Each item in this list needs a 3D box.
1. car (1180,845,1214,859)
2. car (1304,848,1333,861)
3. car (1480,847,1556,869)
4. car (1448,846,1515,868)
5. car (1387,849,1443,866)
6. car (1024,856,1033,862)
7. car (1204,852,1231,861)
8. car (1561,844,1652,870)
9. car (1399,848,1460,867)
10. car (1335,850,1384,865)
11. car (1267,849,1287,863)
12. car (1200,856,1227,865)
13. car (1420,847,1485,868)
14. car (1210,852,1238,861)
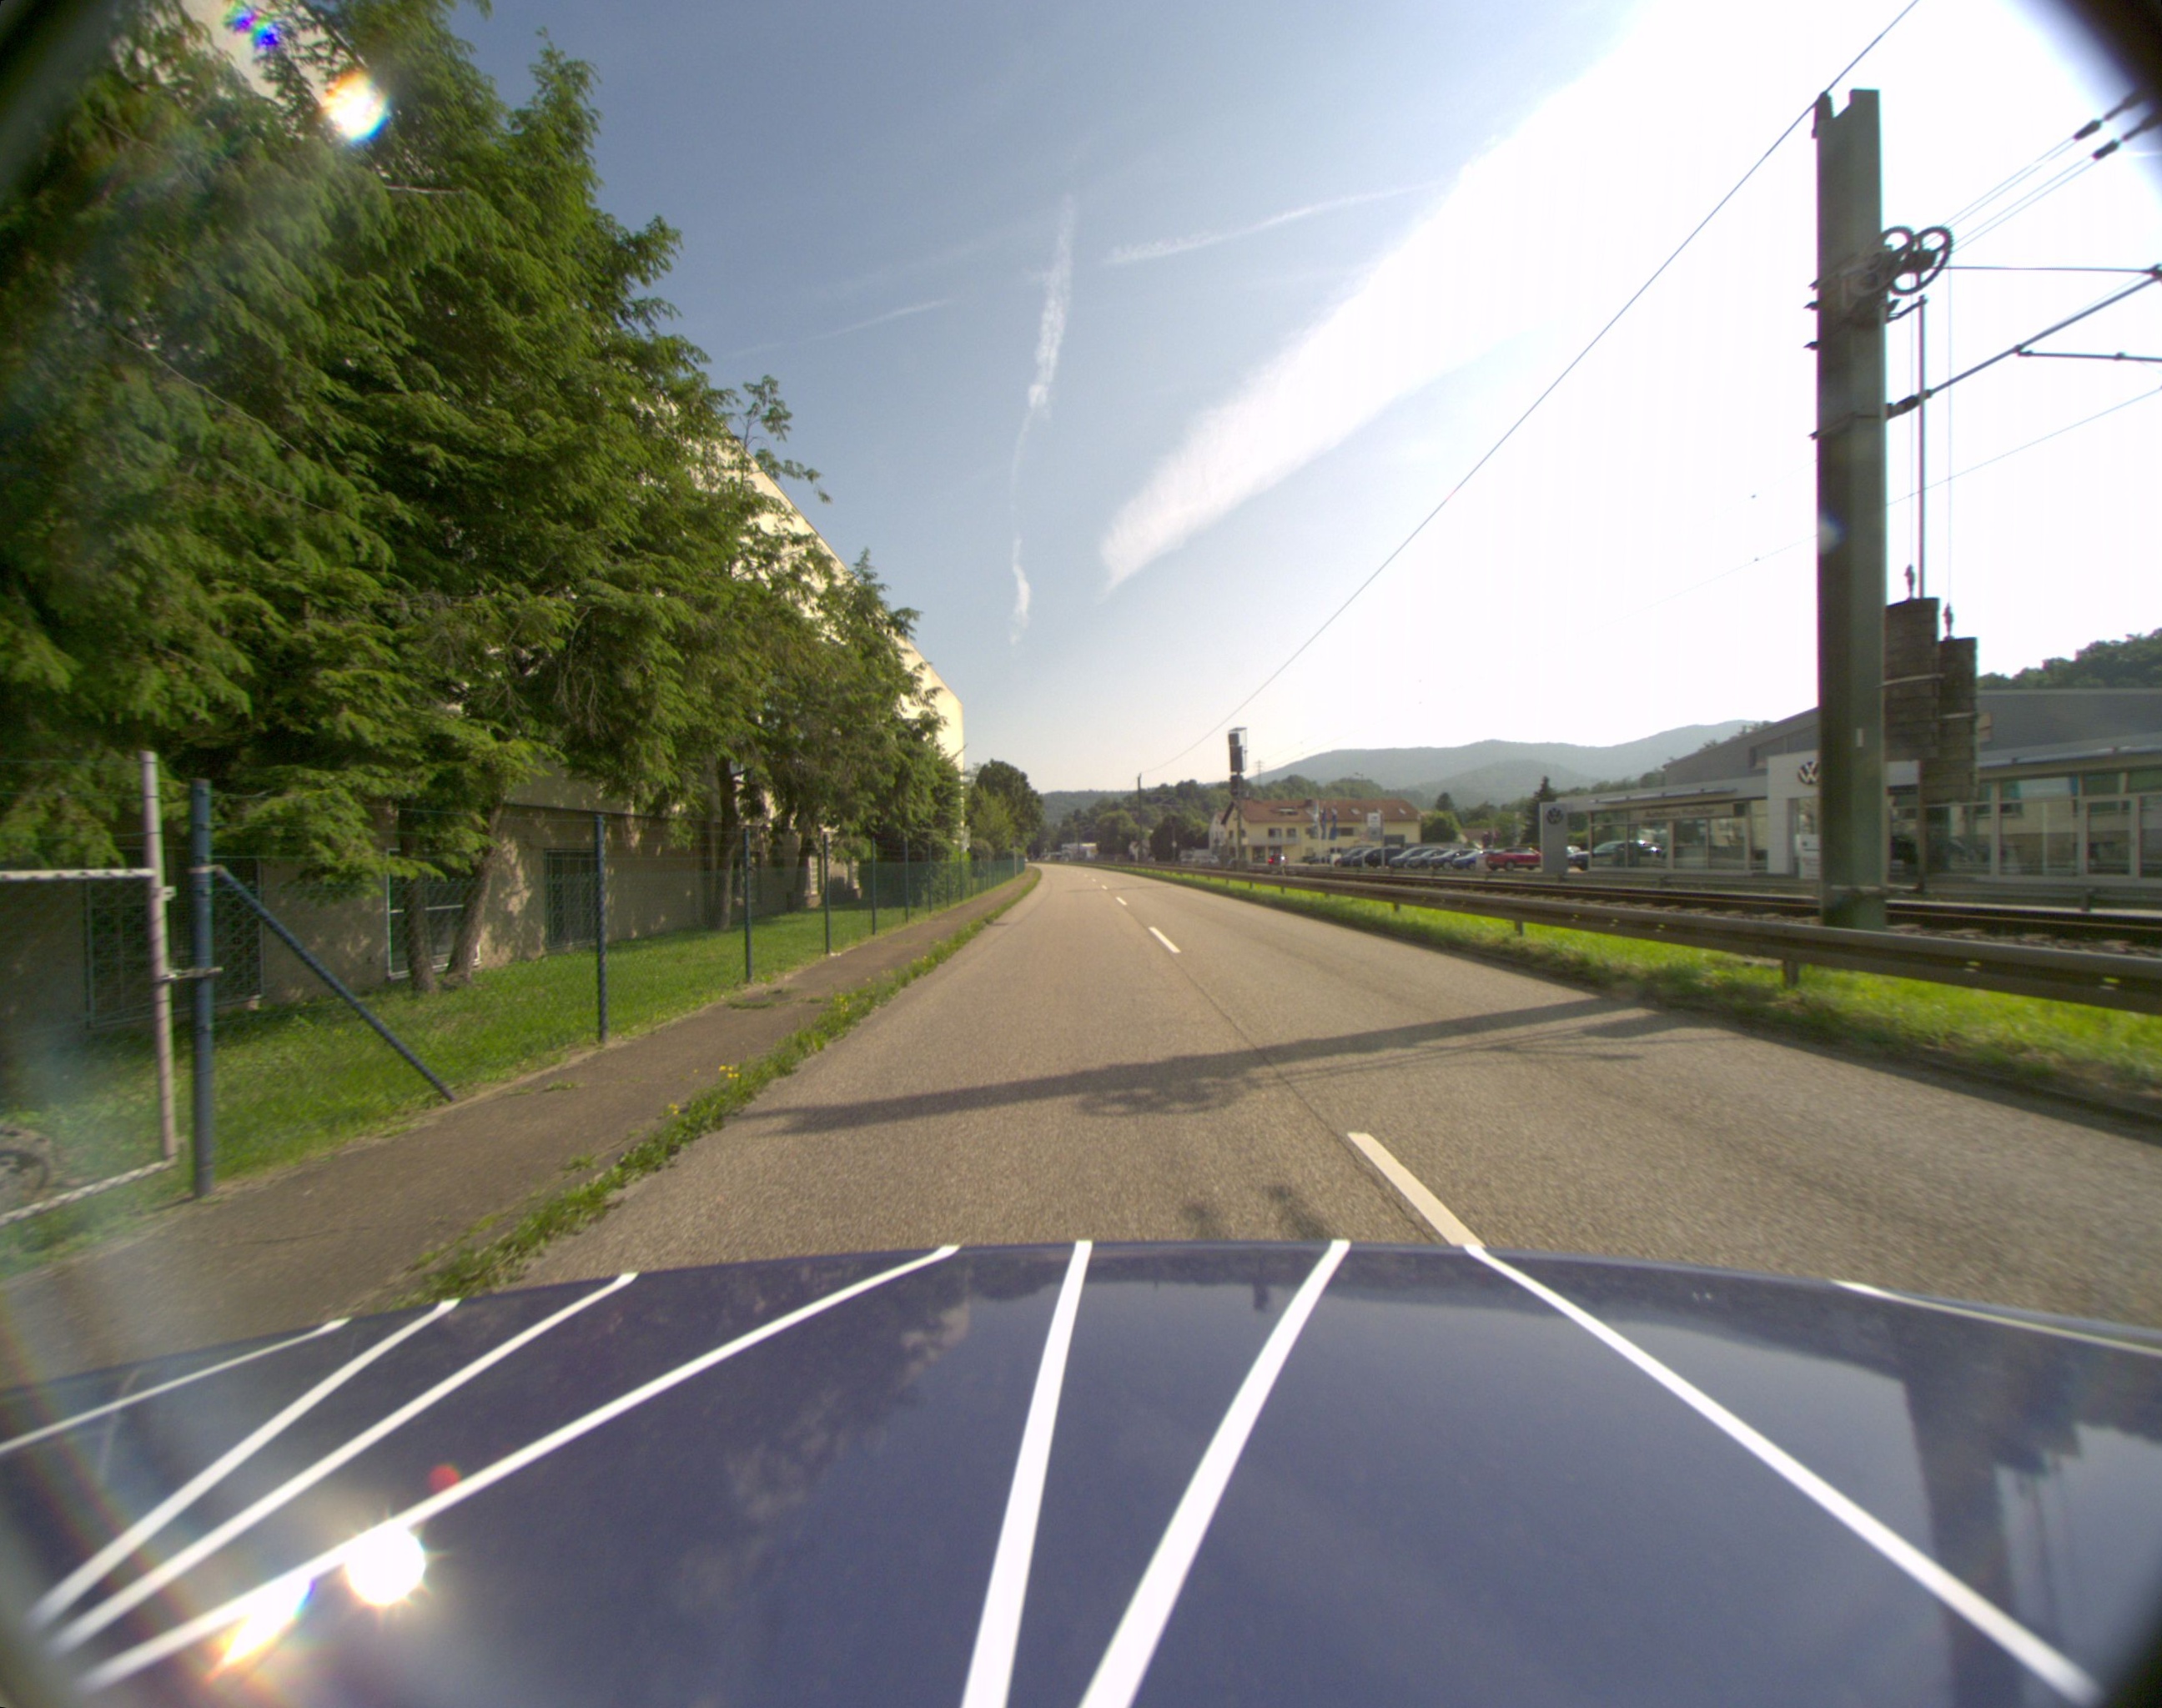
[{"bbox_3d":[20.464,-0.405,134.472,5.588,2.403,2.235,-1,0,-4],"label":"car"},{"bbox_3d":[30.912,0.082,98.834,3.540,1.566,1.651,-1,0,19],"label":"car"},{"bbox_3d":[28.469,0.232,49.544,3.999,1.367,1.860,-1,0,-7],"label":"car"},{"bbox_3d":[28.375,0.202,53.897,4.001,1.451,1.759,-1,0,-12],"label":"car"},{"bbox_3d":[28.109,0.292,63.988,3.998,1.451,1.760,-1,0,-2],"label":"car"},{"bbox_3d":[-14.819,1.354,214.219,2.001,1.696,3.995,-1,0,-13],"label":"car"},{"bbox_3d":[21.307,0.381,118.384,3.858,1.292,1.648,-1,0,-7],"label":"car"},{"bbox_3d":[30.347,0.158,43.929,3.998,1.451,1.861,-1,0,-2],"label":"car"},{"bbox_3d":[27.683,0.273,60.425,3.998,1.451,1.760,-1,0,-2],"label":"car"},{"bbox_3d":[26.614,0.322,72.702,3.998,1.451,1.760,-1,0,-2],"label":"car"},{"bbox_3d":[21.198,0.228,82.121,1.858,1.451,4.004,0,0,11],"label":"car"},{"bbox_3d":[21.053,0.987,120.843,3.858,1.292,1.648,-1,0,-7],"label":"car"},{"bbox_3d":[27.847,0.254,57.015,3.998,1.451,1.760,-1,0,-2],"label":"car"},{"bbox_3d":[21.798,0.385,115.630,3.858,1.292,1.648,-1,0,-7],"label":"car"}]
